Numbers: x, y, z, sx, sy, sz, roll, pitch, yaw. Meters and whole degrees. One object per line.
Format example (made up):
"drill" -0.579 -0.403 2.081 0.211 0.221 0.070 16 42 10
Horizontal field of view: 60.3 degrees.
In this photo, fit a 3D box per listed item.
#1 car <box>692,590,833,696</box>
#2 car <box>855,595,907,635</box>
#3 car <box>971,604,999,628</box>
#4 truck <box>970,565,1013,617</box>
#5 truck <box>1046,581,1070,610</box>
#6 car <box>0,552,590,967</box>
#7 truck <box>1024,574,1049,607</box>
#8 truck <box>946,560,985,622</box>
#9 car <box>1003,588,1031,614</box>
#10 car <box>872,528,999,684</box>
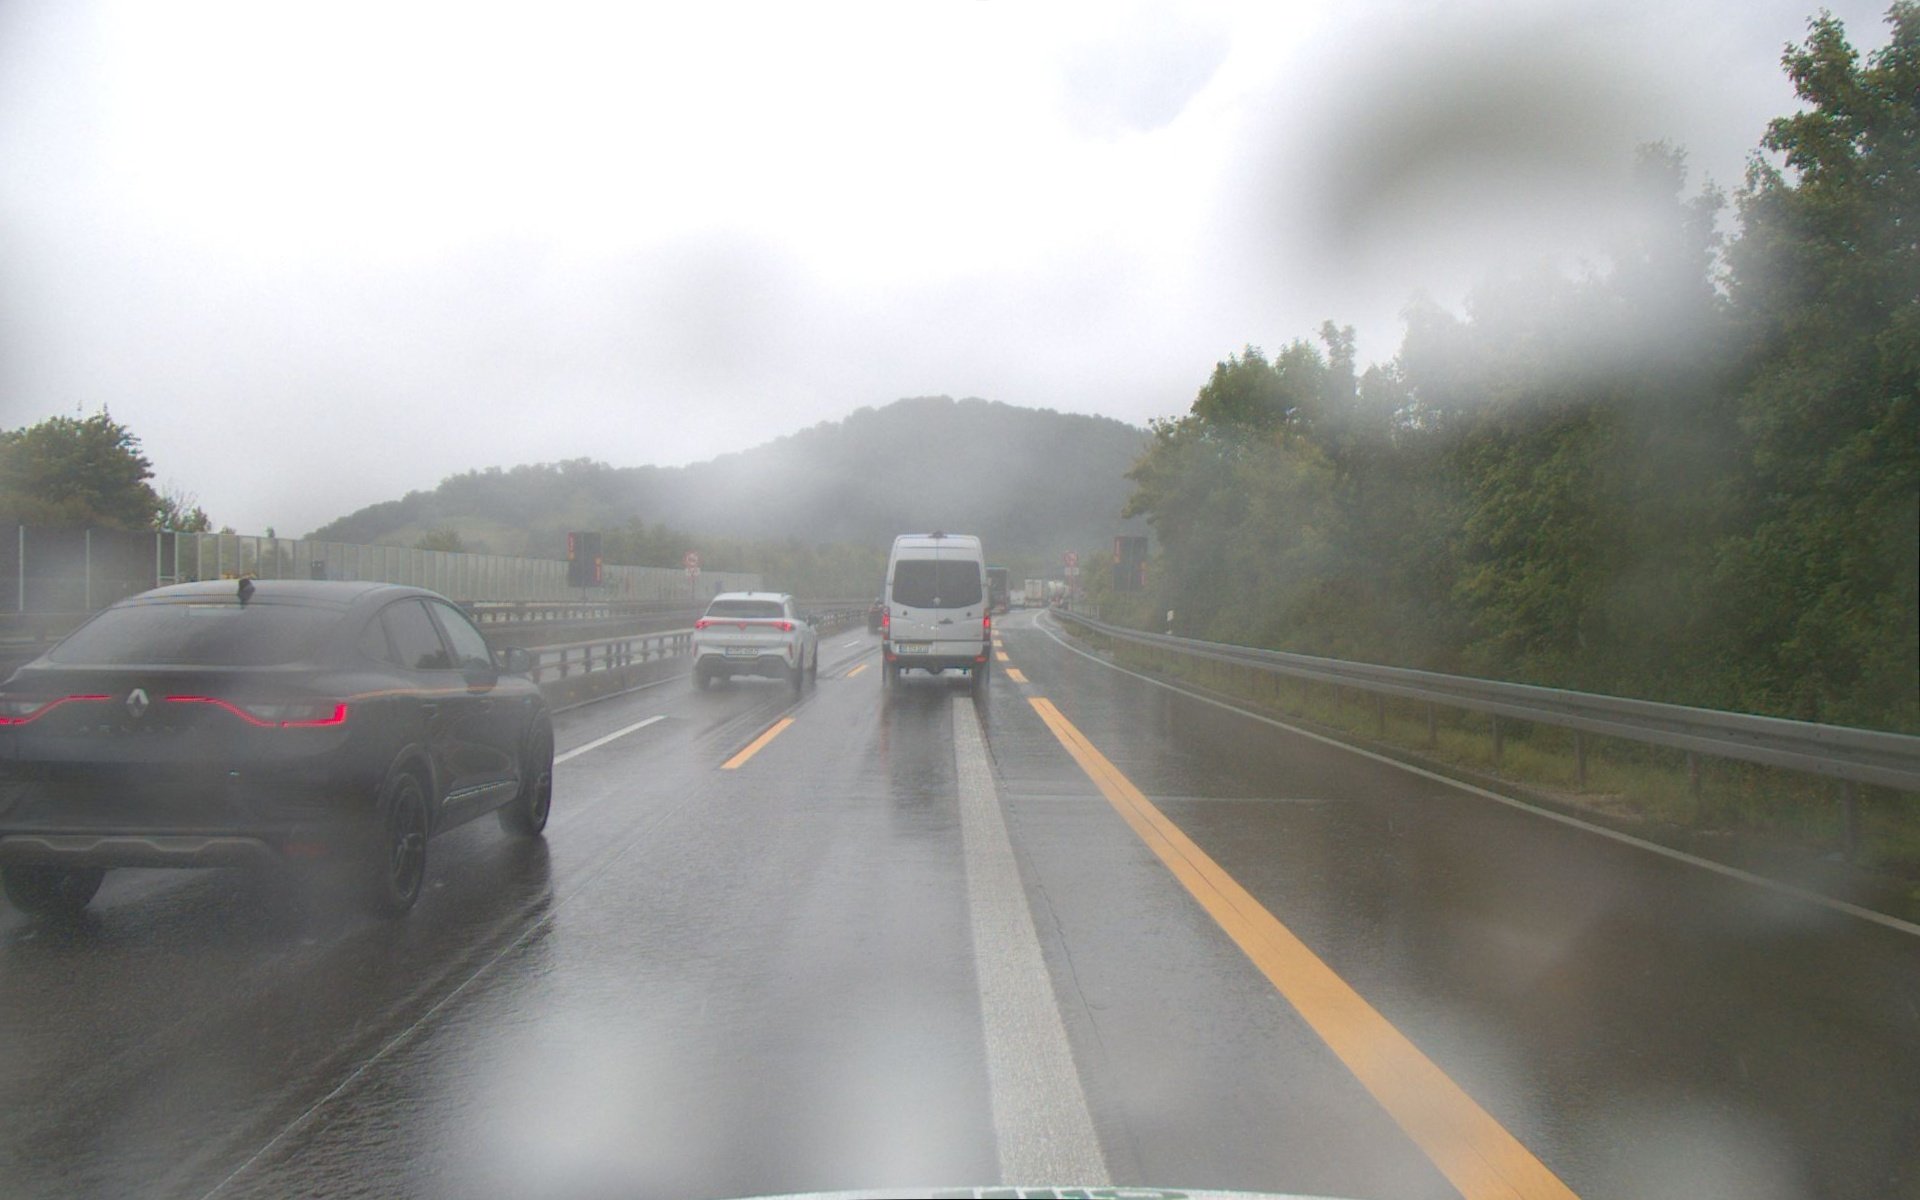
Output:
"car" -3.328 0.702 28.736 1.953 1.646 4.794 1 0 -2
"car" -3.336 0.639 70.912 1.906 1.588 4.001 1 0 1
"car" 1.684 1.070 109.709 1.737 1.501 4.001 1 0 3
"truck" 2.924 -0.794 149.973 3.506 4.483 9.627 1 0 3
"truck" 15.658 -0.700 264.333 2.836 4.483 9.631 1 0 9
"car" -3.406 0.636 8.740 1.953 1.613 4.412 1 0 -1
"truck" 10.792 -1.259 231.710 2.972 4.483 9.629 1 0 5
"truck" 0.355 -0.459 89.893 1.952 3.163 8.499 1 0 1
"car" 6.761 0.124 196.010 2.837 2.938 6.415 1 0 6
"car" -0.503 0.116 30.769 2.102 2.616 5.387 1 0 -2
